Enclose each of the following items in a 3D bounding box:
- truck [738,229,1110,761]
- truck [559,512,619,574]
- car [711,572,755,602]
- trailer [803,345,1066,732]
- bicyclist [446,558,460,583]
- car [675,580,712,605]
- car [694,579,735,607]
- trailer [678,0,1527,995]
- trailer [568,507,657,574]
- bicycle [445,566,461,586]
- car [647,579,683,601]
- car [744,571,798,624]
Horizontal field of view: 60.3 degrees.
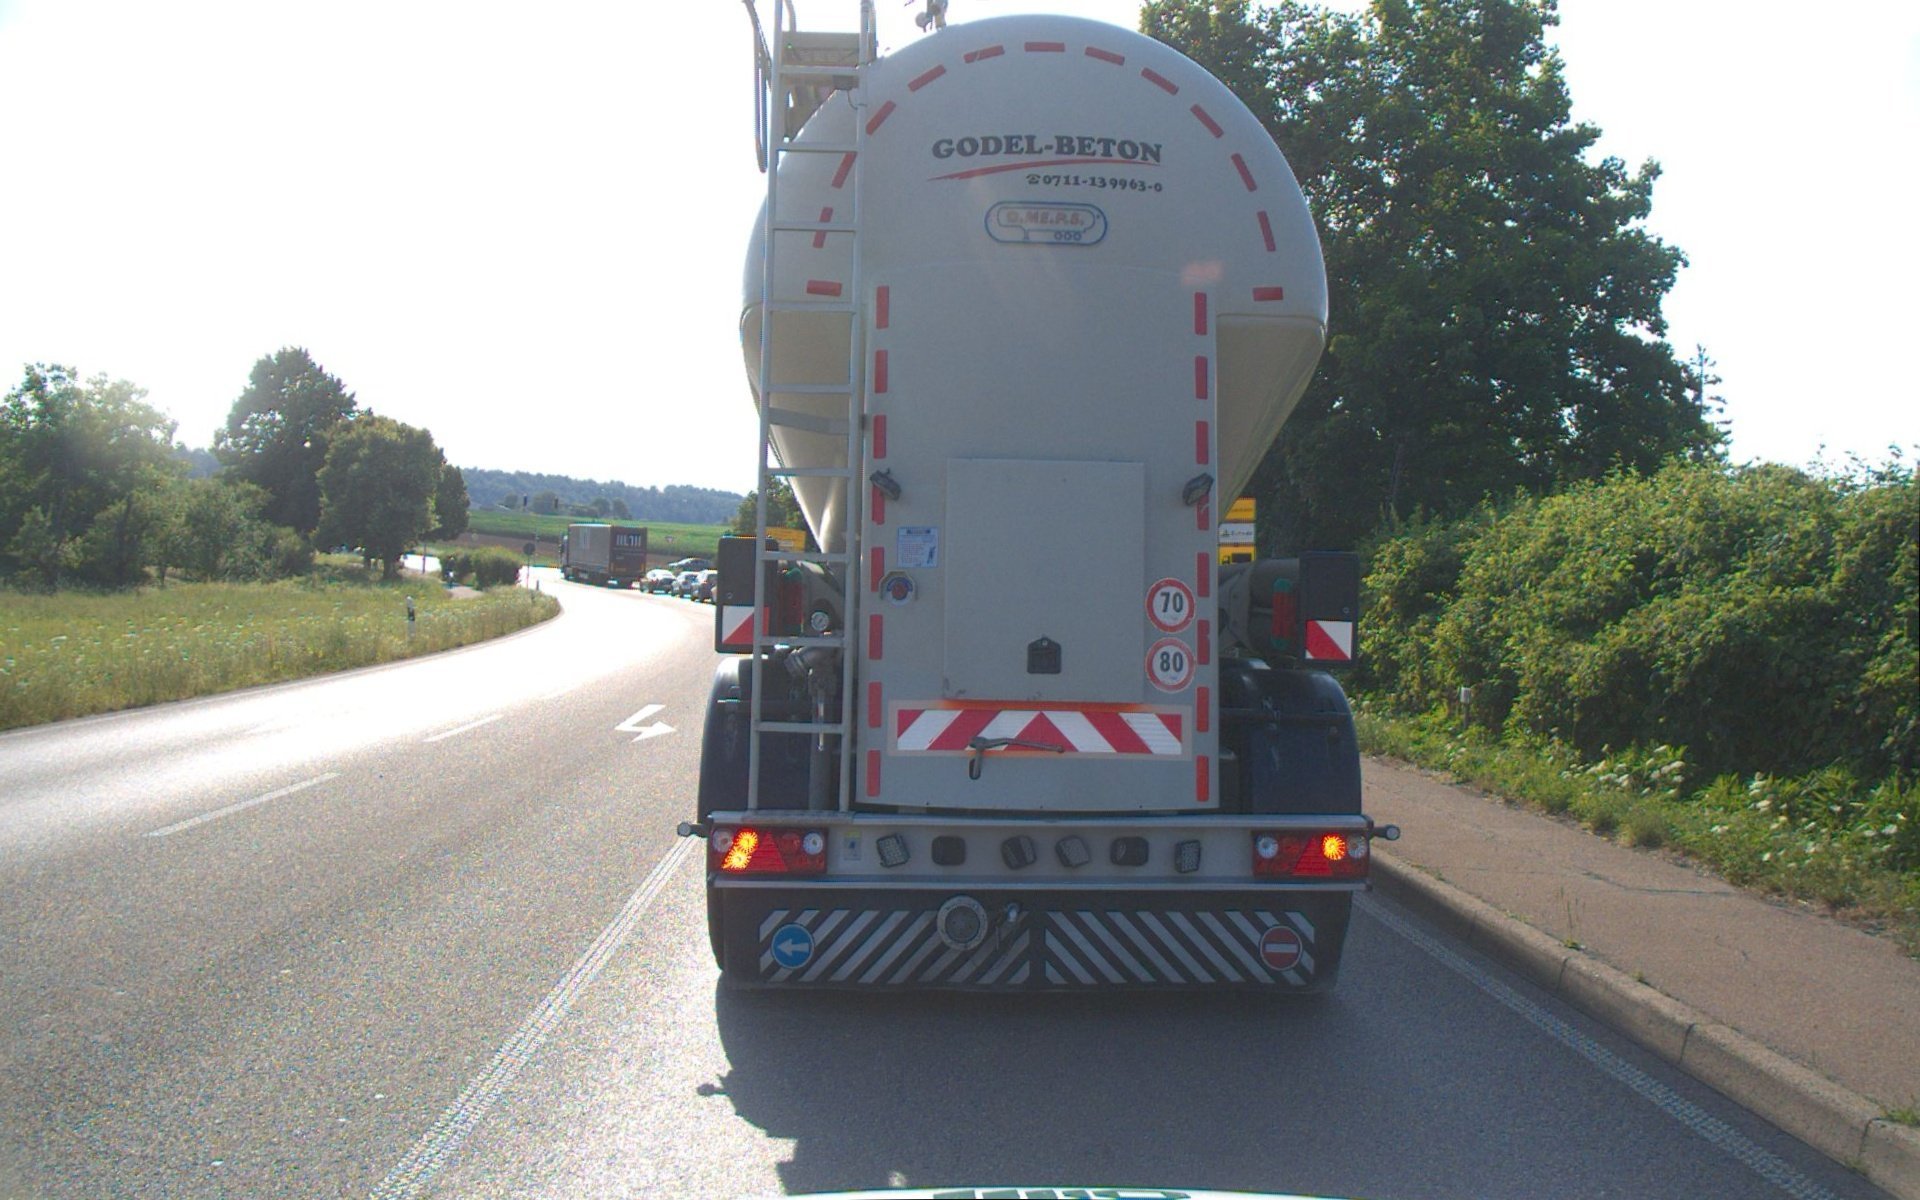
[{"bbox_3d":[-0.485,-0.800,14.896,2.854,4.076,4.054,1,0,-7],"label":"truck"},{"bbox_3d":[-28.413,-4.321,126.615,3.331,4.426,5.664,2,0,-24],"label":"truck"},{"bbox_3d":[-11.169,-0.641,81.335,1.556,1.364,3.408,2,0,-18],"label":"car"},{"bbox_3d":[-0.370,-0.759,26.328,2.895,4.390,14.173,2,0,-1],"label":"trailer"},{"bbox_3d":[-29.445,-1.708,96.120,0.623,1.444,0.689,3,0,-9],"label":"bicyclist"},{"bbox_3d":[-15.414,-0.437,95.556,1.556,1.364,3.408,2,0,-18],"label":"car"},{"bbox_3d":[-12.988,-0.395,87.460,1.556,1.364,3.408,2,0,-18],"label":"car"},{"bbox_3d":[-0.009,-0.761,10.483,2.854,4.076,9.916,1,0,-6],"label":"trailer"},{"bbox_3d":[-25.186,-4.180,119.109,3.331,4.426,14.190,2,0,-23],"label":"trailer"},{"bbox_3d":[-29.456,-1.398,96.083,0.623,1.093,1.667,3,0,-9],"label":"bicycle"},{"bbox_3d":[-18.176,-0.621,101.864,1.742,1.226,3.408,-3,2,-18],"label":"car"},{"bbox_3d":[-7.691,-0.130,67.051,1.828,2.049,3.709,1,0,-11],"label":"car"}]
